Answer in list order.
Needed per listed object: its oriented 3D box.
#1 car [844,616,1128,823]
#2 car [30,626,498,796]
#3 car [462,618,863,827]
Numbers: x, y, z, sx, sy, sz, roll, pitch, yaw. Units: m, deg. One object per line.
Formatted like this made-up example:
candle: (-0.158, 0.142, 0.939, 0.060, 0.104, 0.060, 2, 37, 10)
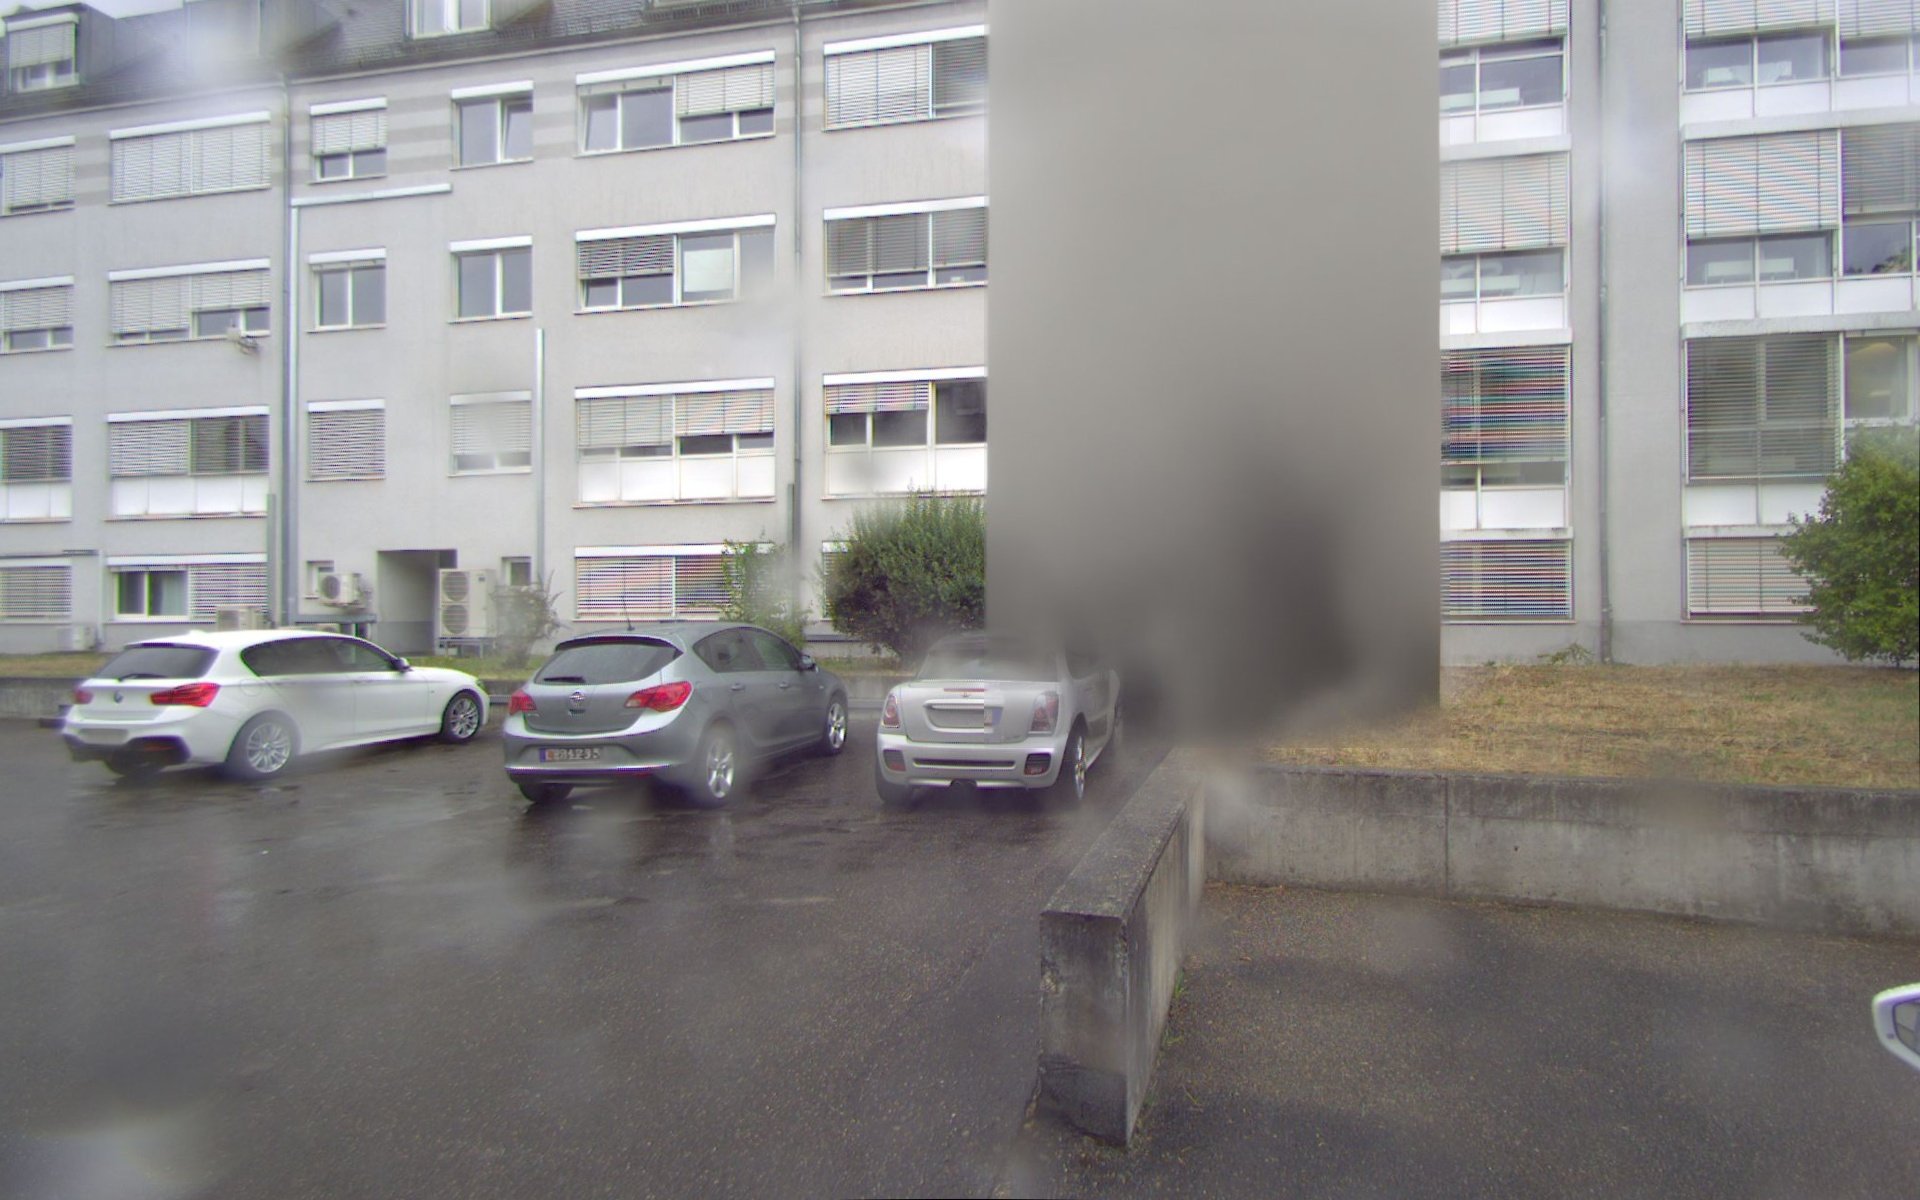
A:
car: (0.504, 0.928, 9.585, 1.785, 1.351, 4.180, -1, 1, 15)
car: (-7.246, 1.034, 11.071, 1.718, 1.452, 4.155, 0, -1, 13)
car: (-2.447, 0.942, 9.490, 1.785, 1.503, 4.182, -1, -1, 13)
